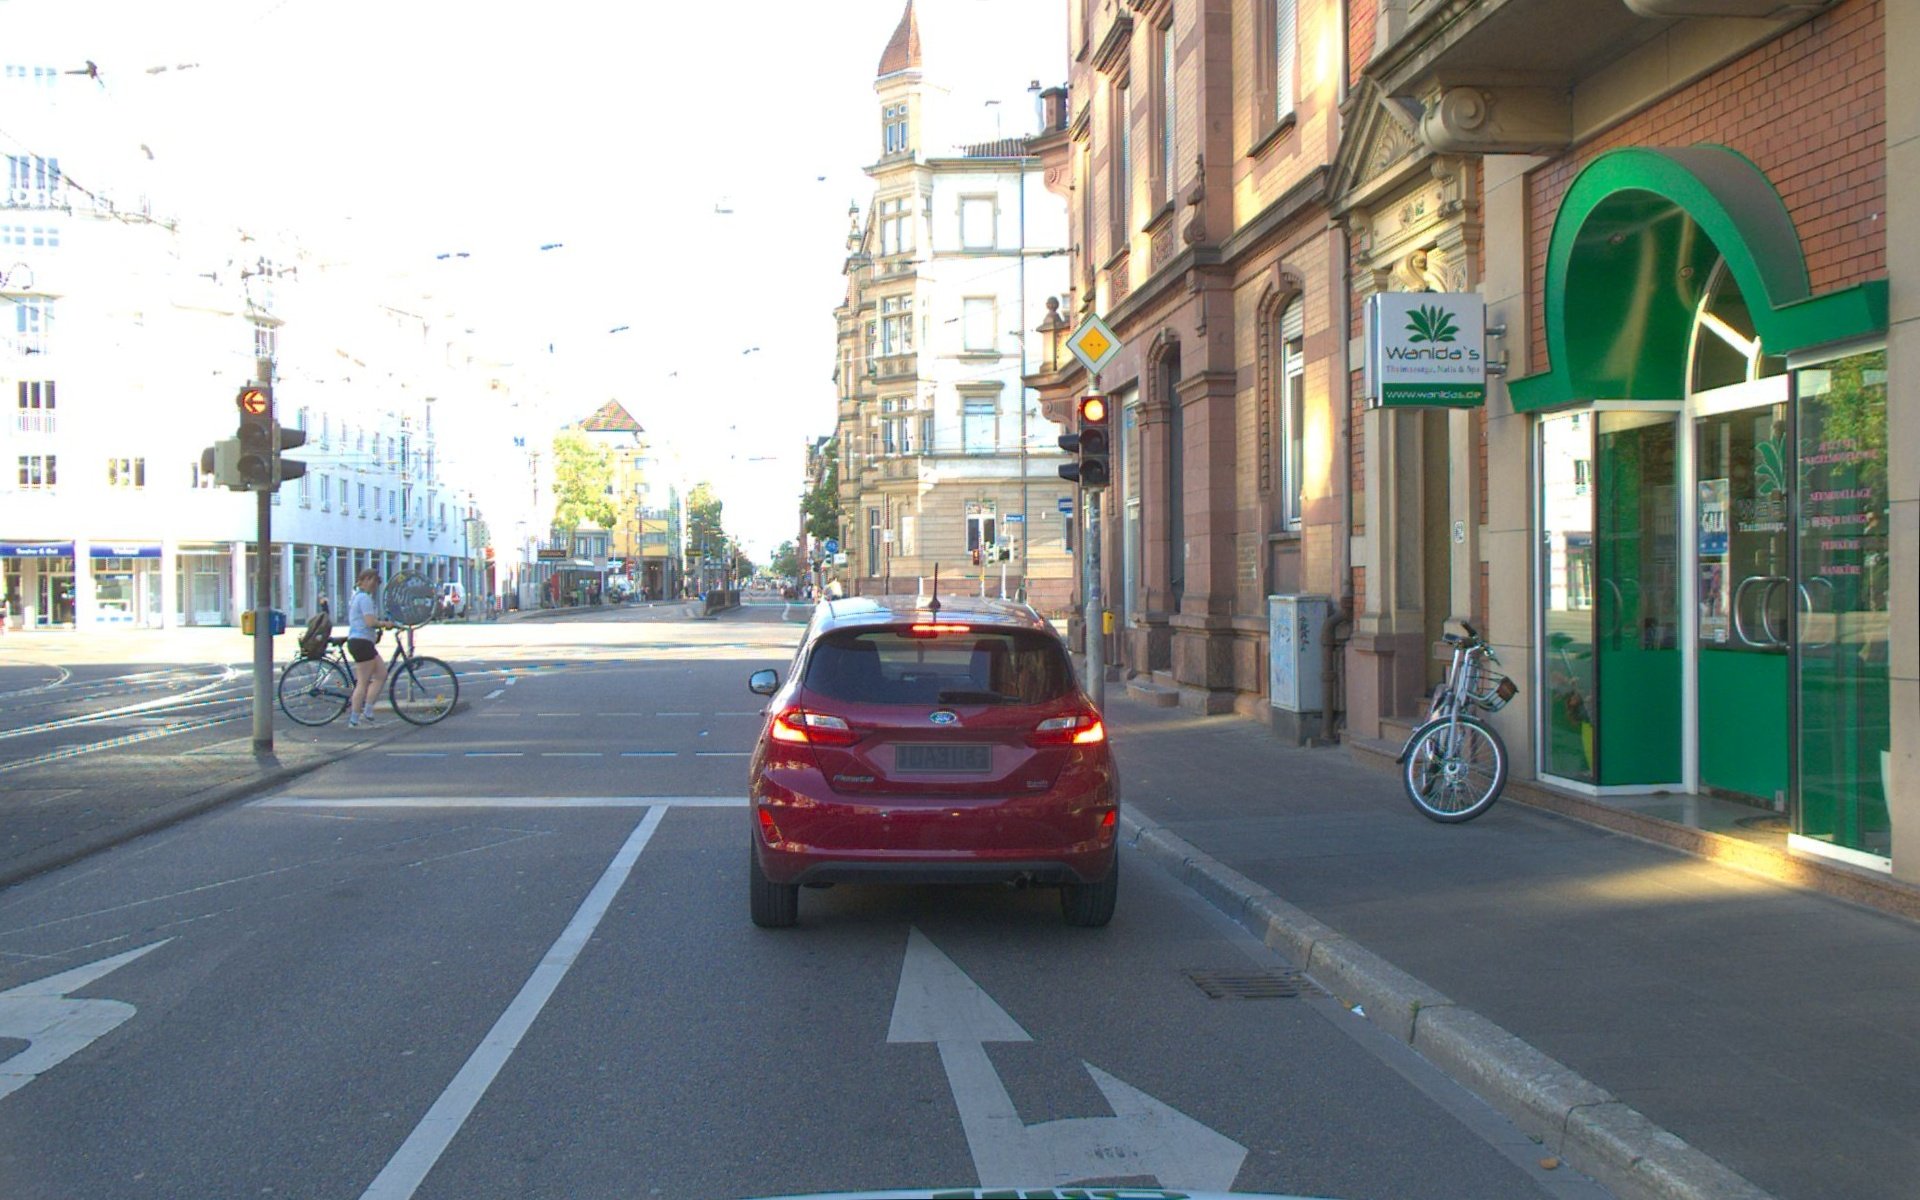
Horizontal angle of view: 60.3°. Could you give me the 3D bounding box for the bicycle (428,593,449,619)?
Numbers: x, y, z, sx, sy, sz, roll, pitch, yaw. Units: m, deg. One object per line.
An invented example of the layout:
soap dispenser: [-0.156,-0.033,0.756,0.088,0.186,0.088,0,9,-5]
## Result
bicycle: [-23.780,0.269,75.457,0.796,1.167,1.998,-1,1,-21]

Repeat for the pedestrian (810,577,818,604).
pedestrian: [-11.448,-0.745,129.801,0.565,2.049,0.631,-1,0,0]

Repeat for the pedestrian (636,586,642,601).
pedestrian: [-32.594,-0.651,168.051,0.513,1.514,0.582,-1,0,-4]

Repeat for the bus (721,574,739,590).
bus: [-30.305,-2.356,218.226,1.888,2.049,7.130,-1,1,-4]

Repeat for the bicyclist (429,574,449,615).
bicyclist: [-23.690,-0.249,75.225,0.796,1.853,0.987,-1,0,-21]

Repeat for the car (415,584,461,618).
car: [-27.907,0.055,88.530,1.668,1.748,3.559,-1,0,-6]

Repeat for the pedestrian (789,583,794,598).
pedestrian: [-20.989,-1.174,206.036,0.566,1.920,0.669,-1,0,-6]

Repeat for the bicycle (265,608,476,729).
bicycle: [-6.028,0.699,17.018,1.985,1.198,0.625,1,0,-17]

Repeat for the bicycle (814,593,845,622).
bicycle: [-4.993,0.284,63.341,0.521,1.108,1.469,-1,0,-34]

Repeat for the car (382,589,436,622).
car: [-26.976,0.238,81.093,1.731,1.573,3.457,-1,0,-5]

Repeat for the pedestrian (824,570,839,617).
pedestrian: [-5.694,-0.283,73.164,0.639,2.049,0.758,-1,0,-7]

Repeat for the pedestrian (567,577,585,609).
pedestrian: [-24.643,-0.446,106.218,1.026,2.049,0.957,-1,0,-8]

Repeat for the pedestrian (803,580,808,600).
pedestrian: [-16.125,-1.081,172.687,0.566,2.049,0.630,-1,0,-5]

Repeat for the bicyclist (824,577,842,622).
bicyclist: [-4.850,-0.013,63.118,0.495,1.705,0.539,-1,0,-34]

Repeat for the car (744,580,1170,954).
car: [-0.250,0.664,8.677,1.721,1.492,3.938,1,0,-8]

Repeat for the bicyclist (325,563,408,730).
bicyclist: [-6.011,0.461,16.776,0.718,1.655,0.762,1,0,-16]

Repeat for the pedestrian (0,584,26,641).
pedestrian: [-34.382,0.453,59.833,0.935,2.049,0.929,-1,0,-34]

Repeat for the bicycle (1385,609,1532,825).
bicycle: [3.036,0.674,10.210,0.700,1.172,1.656,-2,1,12]

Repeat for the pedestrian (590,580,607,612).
pedestrian: [-23.347,-0.256,106.855,1.026,2.049,0.957,-1,0,-8]

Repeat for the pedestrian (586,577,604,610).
pedestrian: [-23.071,-0.413,104.596,1.026,2.049,0.957,-1,0,-8]

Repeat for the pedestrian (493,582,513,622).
pedestrian: [-20.551,0.081,74.381,0.753,1.761,0.572,0,0,-4]

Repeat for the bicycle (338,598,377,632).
bicycle: [-21.237,0.517,58.345,0.792,1.167,2.047,-1,1,-6]

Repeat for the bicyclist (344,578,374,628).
bicyclist: [-21.267,0.093,58.520,0.792,1.756,0.793,-1,0,-7]

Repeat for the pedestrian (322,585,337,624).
pedestrian: [-28.209,0.206,73.983,0.515,1.711,0.484,-1,0,-13]

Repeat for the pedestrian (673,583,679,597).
pedestrian: [-33.965,-1.203,197.726,0.620,1.632,0.575,-1,0,-23]

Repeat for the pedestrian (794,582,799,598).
pedestrian: [-19.952,-1.215,202.350,0.566,1.920,0.630,-1,0,-6]

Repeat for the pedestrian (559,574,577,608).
pedestrian: [-24.231,-0.541,102.167,0.937,2.049,1.047,-1,0,-6]
